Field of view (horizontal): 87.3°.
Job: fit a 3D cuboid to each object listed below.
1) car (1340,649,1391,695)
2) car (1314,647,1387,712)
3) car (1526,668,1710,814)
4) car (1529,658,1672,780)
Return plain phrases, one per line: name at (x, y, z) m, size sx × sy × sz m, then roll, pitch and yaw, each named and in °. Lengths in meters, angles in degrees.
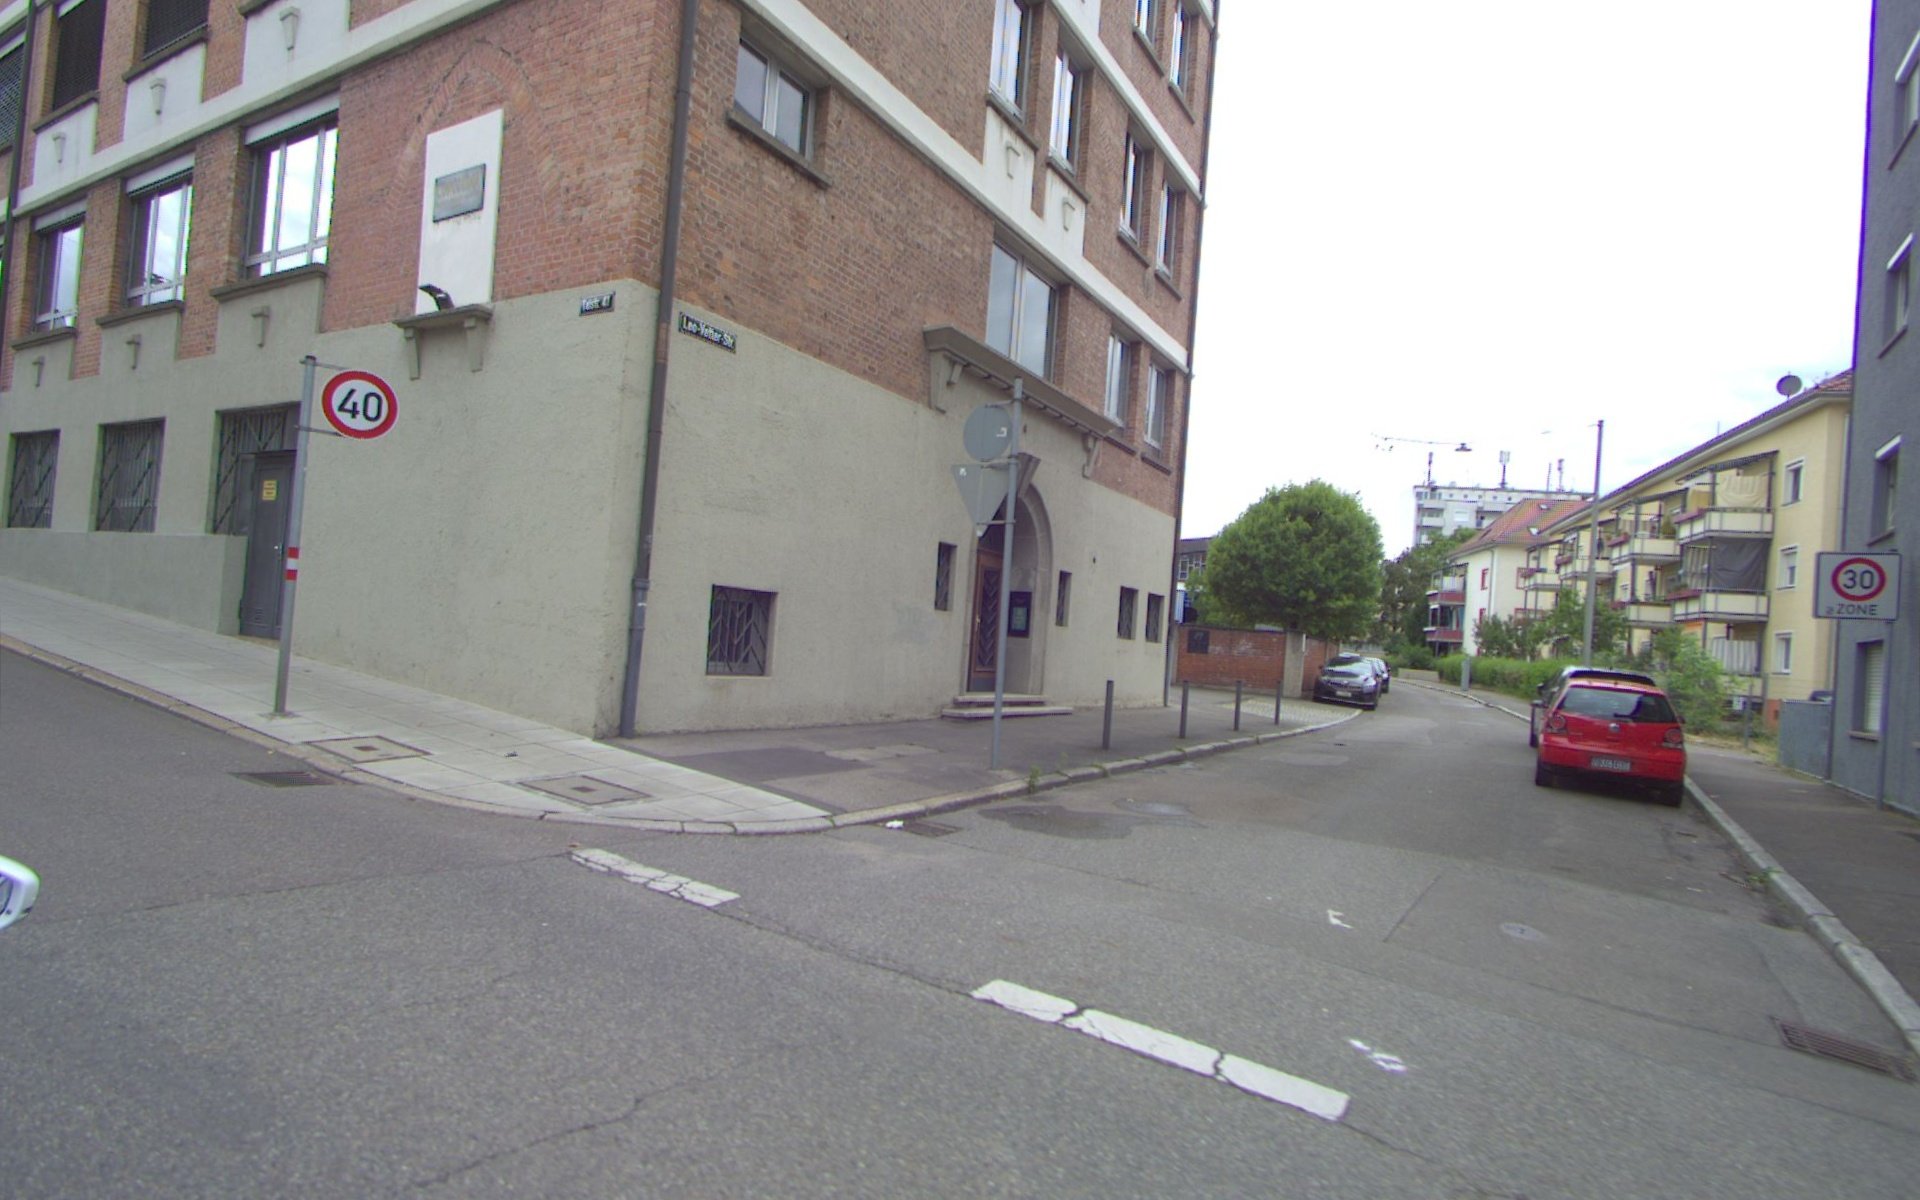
car at (16.906, 2.947, 41.981) m, size 1.732 × 1.572 × 4.117 m, roll 7°, pitch 1°, yaw 22°
car at (11.885, 2.340, 30.459) m, size 1.770 × 1.572 × 3.948 m, roll 7°, pitch 1°, yaw 23°
car at (9.000, 1.809, 13.919) m, size 1.736 × 1.483 × 3.661 m, roll 7°, pitch 1°, yaw 32°
car at (11.397, 2.012, 18.141) m, size 1.656 × 1.696 × 4.113 m, roll 7°, pitch 1°, yaw 28°
